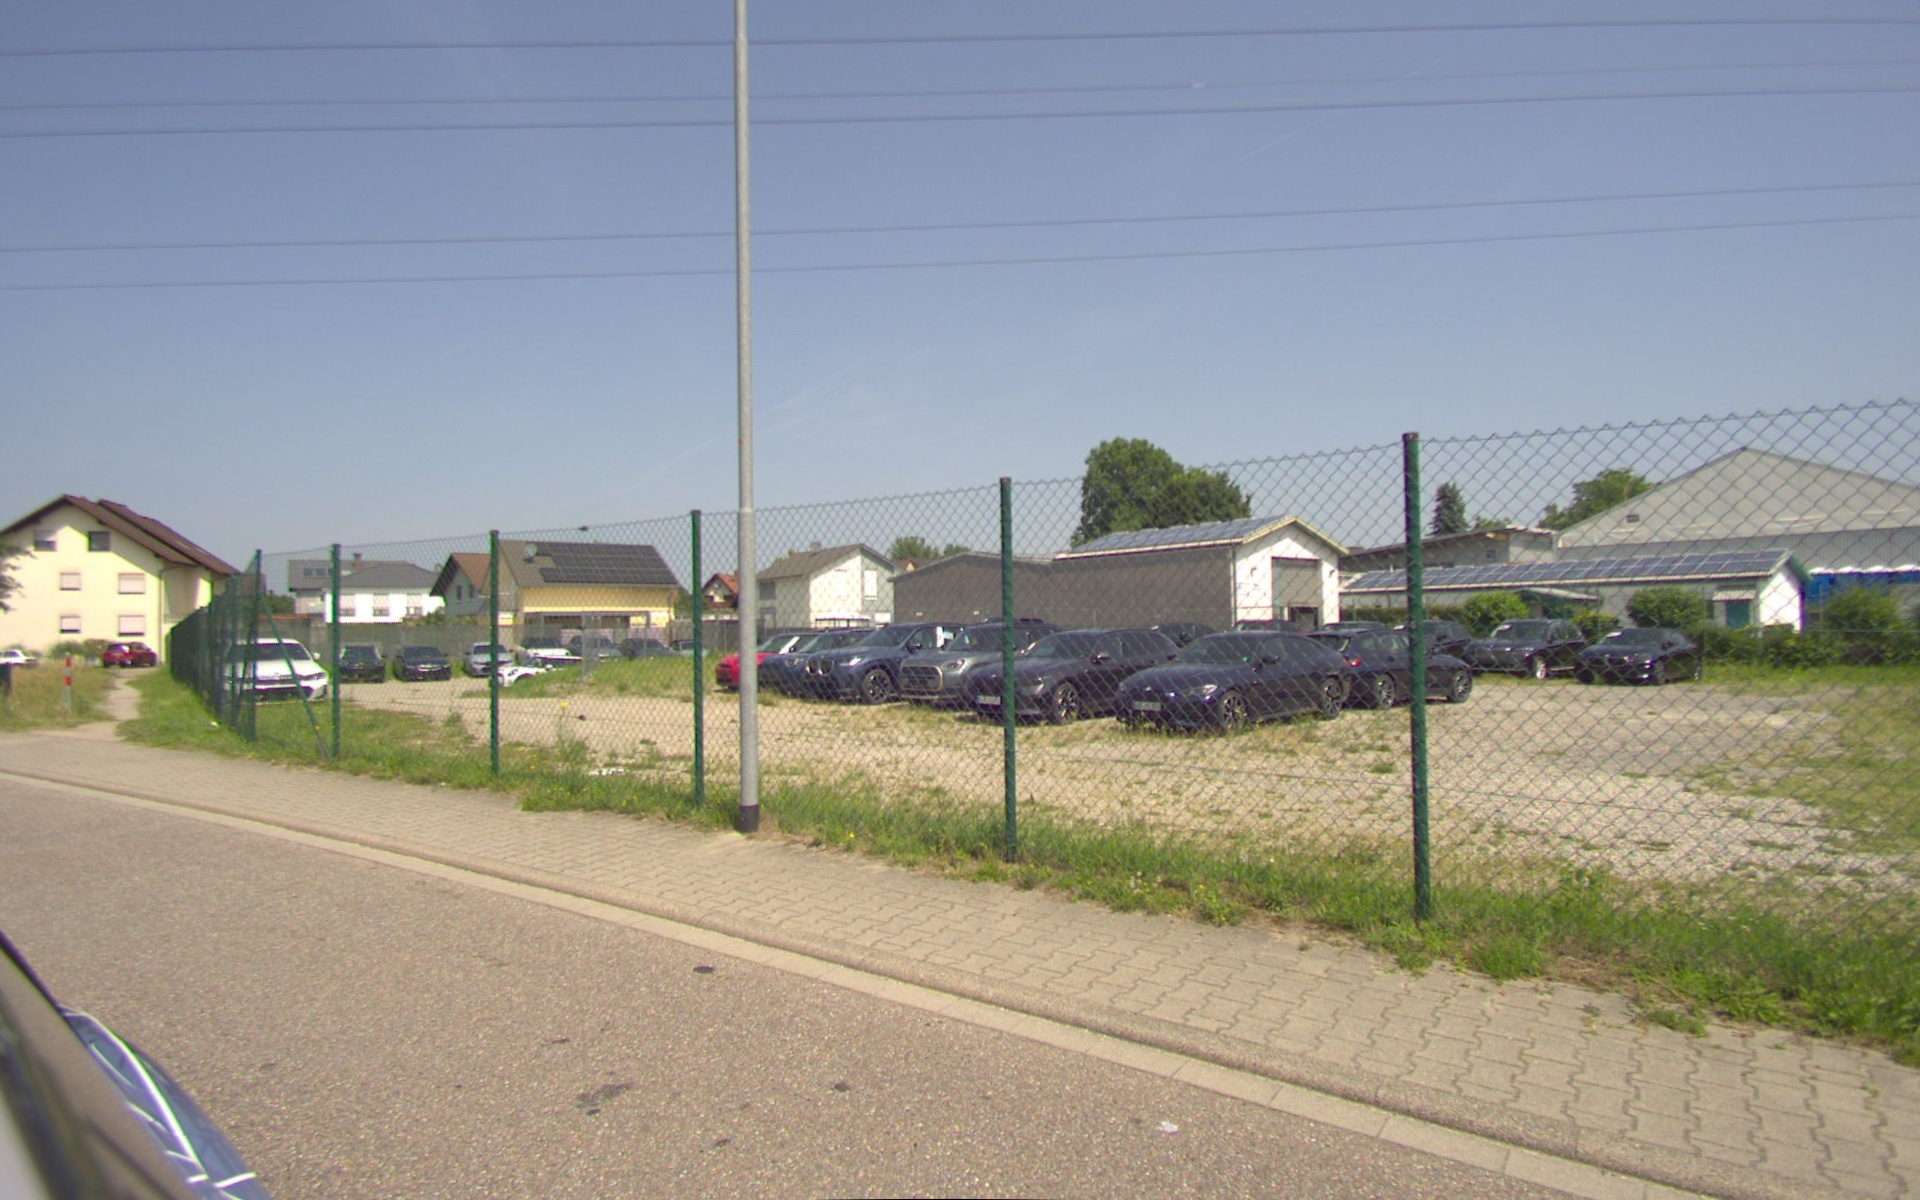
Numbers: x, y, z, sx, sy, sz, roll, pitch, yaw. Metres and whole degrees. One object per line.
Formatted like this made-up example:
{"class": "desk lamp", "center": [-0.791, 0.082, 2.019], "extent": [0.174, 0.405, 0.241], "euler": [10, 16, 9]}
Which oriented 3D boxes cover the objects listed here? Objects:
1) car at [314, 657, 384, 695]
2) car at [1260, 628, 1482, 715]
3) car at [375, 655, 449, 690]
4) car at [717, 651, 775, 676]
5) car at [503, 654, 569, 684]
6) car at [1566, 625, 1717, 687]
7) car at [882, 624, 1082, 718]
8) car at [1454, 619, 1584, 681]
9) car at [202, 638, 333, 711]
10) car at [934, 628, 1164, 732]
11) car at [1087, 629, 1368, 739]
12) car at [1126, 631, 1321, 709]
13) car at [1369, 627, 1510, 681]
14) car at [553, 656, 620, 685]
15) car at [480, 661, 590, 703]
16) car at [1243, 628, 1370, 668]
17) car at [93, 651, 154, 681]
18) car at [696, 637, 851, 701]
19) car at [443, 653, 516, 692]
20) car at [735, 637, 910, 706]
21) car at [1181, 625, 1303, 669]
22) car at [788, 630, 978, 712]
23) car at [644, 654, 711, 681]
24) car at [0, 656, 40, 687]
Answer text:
{"class": "car", "center": [-25.368, 3.122, 41.956], "extent": [1.839, 1.381, 4.570], "euler": [1, -2, -39]}
{"class": "car", "center": [8.009, 1.305, 19.595], "extent": [4.349, 1.446, 2.006], "euler": [0, -2, -37]}
{"class": "car", "center": [-23.813, 3.110, 43.884], "extent": [2.010, 1.353, 4.425], "euler": [1, -2, -39]}
{"class": "car", "center": [-11.744, 3.423, 55.329], "extent": [1.765, 1.245, 3.616], "euler": [1, -2, -37]}
{"class": "car", "center": [-20.059, 3.220, 47.790], "extent": [1.765, 1.245, 4.142], "euler": [1, -2, -39]}
{"class": "car", "center": [17.385, 1.363, 25.732], "extent": [4.592, 1.446, 2.005], "euler": [1, -2, -41]}
{"class": "car", "center": [0.463, 1.309, 19.798], "extent": [3.577, 1.656, 1.871], "euler": [1, -2, -41]}
{"class": "car", "center": [15.152, 1.302, 27.371], "extent": [3.711, 1.566, 1.871], "euler": [1, -2, -41]}
{"class": "car", "center": [-14.422, 1.467, 20.967], "extent": [1.839, 1.317, 4.570], "euler": [1, -2, -39]}
{"class": "car", "center": [1.588, 1.288, 17.422], "extent": [3.711, 1.566, 1.871], "euler": [1, -2, -41]}
{"class": "car", "center": [4.288, 1.195, 15.851], "extent": [4.592, 1.446, 2.005], "euler": [1, -2, -41]}
{"class": "car", "center": [5.627, 1.421, 21.473], "extent": [3.935, 1.431, 2.004], "euler": [0, -2, -38]}
{"class": "car", "center": [14.051, 1.526, 29.569], "extent": [4.592, 1.446, 2.005], "euler": [1, -2, -41]}
{"class": "car", "center": [-18.192, 3.409, 49.196], "extent": [1.765, 1.245, 4.142], "euler": [1, -2, -39]}
{"class": "car", "center": [-15.364, 2.929, 36.617], "extent": [3.337, 1.325, 1.662], "euler": [1, -2, -39]}
{"class": "car", "center": [11.405, 1.535, 33.175], "extent": [4.532, 1.184, 1.871], "euler": [1, -2, -41]}
{"class": "car", "center": [-53.111, 4.149, 64.318], "extent": [1.834, 1.741, 4.148], "euler": [0, -2, -23]}
{"class": "car", "center": [-4.703, 1.697, 25.664], "extent": [3.387, 1.464, 1.871], "euler": [1, -2, -41]}
{"class": "car", "center": [-21.754, 3.234, 45.741], "extent": [2.010, 1.548, 4.142], "euler": [1, -2, -39]}
{"class": "car", "center": [-3.160, 1.591, 23.527], "extent": [3.591, 1.444, 1.871], "euler": [1, -2, -41]}
{"class": "car", "center": [9.836, 1.596, 35.190], "extent": [4.532, 1.444, 1.871], "euler": [1, -2, -41]}
{"class": "car", "center": [-1.603, 1.436, 21.517], "extent": [3.639, 1.573, 1.871], "euler": [1, -2, -41]}
{"class": "car", "center": [-14.349, 3.385, 51.336], "extent": [1.765, 1.245, 4.142], "euler": [1, -2, -39]}
{"class": "car", "center": [-56.282, 4.173, 58.622], "extent": [4.015, 1.697, 1.871], "euler": [0, -2, -23]}
